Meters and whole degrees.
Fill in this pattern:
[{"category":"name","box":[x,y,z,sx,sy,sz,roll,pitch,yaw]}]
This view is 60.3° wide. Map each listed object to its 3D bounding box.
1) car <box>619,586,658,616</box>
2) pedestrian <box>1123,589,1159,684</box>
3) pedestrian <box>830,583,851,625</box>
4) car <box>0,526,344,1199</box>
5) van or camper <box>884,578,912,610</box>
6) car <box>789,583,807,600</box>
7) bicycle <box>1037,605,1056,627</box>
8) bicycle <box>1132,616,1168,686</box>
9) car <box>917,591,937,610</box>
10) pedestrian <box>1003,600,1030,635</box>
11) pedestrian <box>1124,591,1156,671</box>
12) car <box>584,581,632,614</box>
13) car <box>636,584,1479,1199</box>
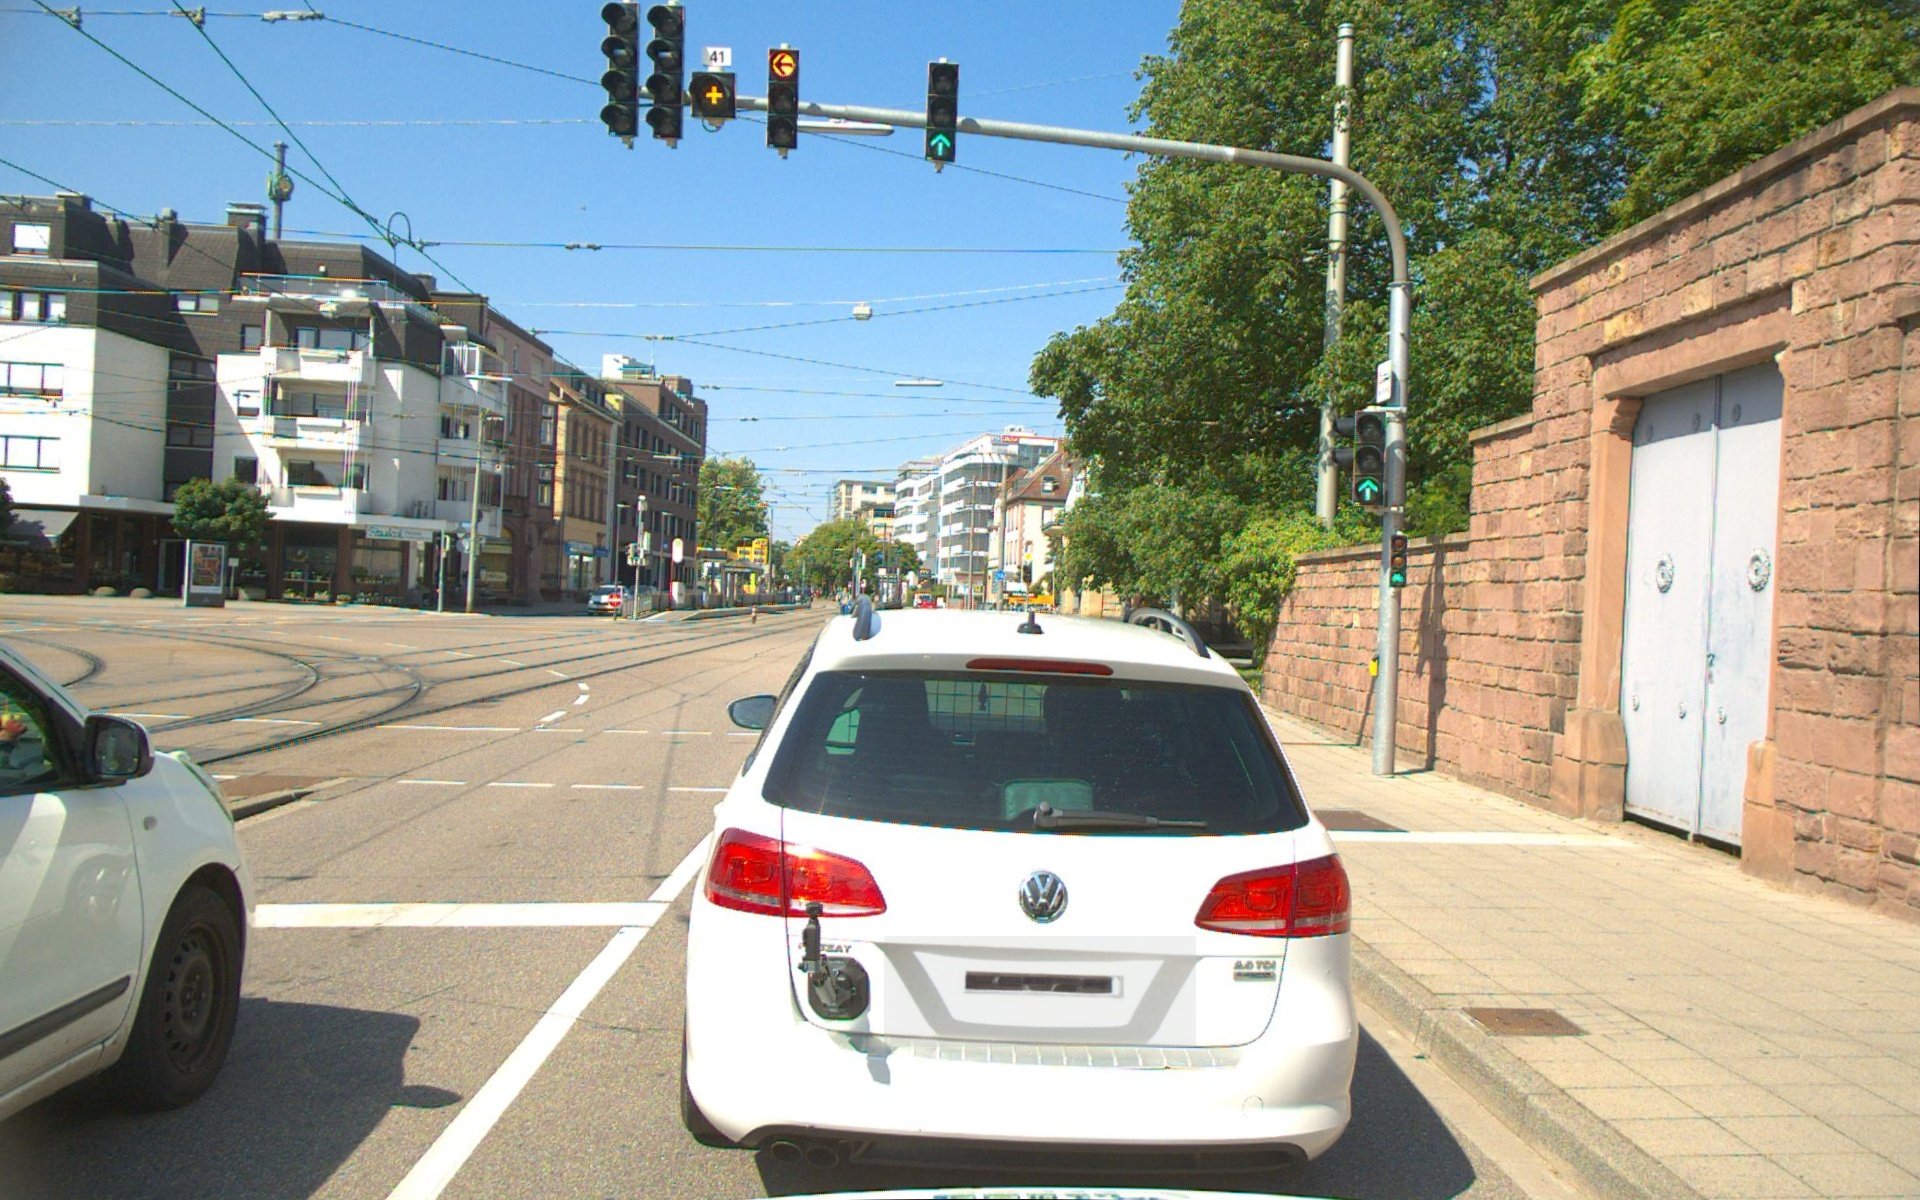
[{"category":"car","box":[-17.056,0.035,87.854,1.542,1.484,3.811,2,0,-4]},{"category":"pedestrian","box":[3.031,0.606,27.734,0.529,1.576,0.663,0,0,-2]},{"category":"pedestrian","box":[-5.400,0.182,74.626,0.810,1.841,0.833,2,0,-1]},{"category":"car","box":[-2.894,0.622,3.433,1.730,1.588,4.066,1,0,-1]},{"category":"van or camper","box":[-6.774,-0.677,179.961,2.885,3.235,6.608,2,0,-4]},{"category":"car","box":[-20.327,-1.032,207.384,1.954,2.049,3.998,1,0,-3]},{"category":"bicycle","box":[4.729,0.846,90.265,0.710,1.159,2.196,2,0,11]},{"category":"bicycle","box":[3.192,0.838,27.716,0.524,1.131,1.808,1,-1,8]},{"category":"car","box":[-3.815,0.076,192.348,1.955,2.049,3.995,2,0,-6]},{"category":"pedestrian","box":[2.507,0.786,73.530,0.843,1.536,0.777,2,0,41]},{"category":"pedestrian","box":[3.951,0.679,36.386,0.636,1.711,0.708,2,0,6]},{"category":"car","box":[-17.022,-0.109,80.101,1.593,1.456,3.961,4,0,-3]},{"category":"car","box":[0.181,0.718,5.379,1.717,1.442,3.852,2,0,-1]}]
